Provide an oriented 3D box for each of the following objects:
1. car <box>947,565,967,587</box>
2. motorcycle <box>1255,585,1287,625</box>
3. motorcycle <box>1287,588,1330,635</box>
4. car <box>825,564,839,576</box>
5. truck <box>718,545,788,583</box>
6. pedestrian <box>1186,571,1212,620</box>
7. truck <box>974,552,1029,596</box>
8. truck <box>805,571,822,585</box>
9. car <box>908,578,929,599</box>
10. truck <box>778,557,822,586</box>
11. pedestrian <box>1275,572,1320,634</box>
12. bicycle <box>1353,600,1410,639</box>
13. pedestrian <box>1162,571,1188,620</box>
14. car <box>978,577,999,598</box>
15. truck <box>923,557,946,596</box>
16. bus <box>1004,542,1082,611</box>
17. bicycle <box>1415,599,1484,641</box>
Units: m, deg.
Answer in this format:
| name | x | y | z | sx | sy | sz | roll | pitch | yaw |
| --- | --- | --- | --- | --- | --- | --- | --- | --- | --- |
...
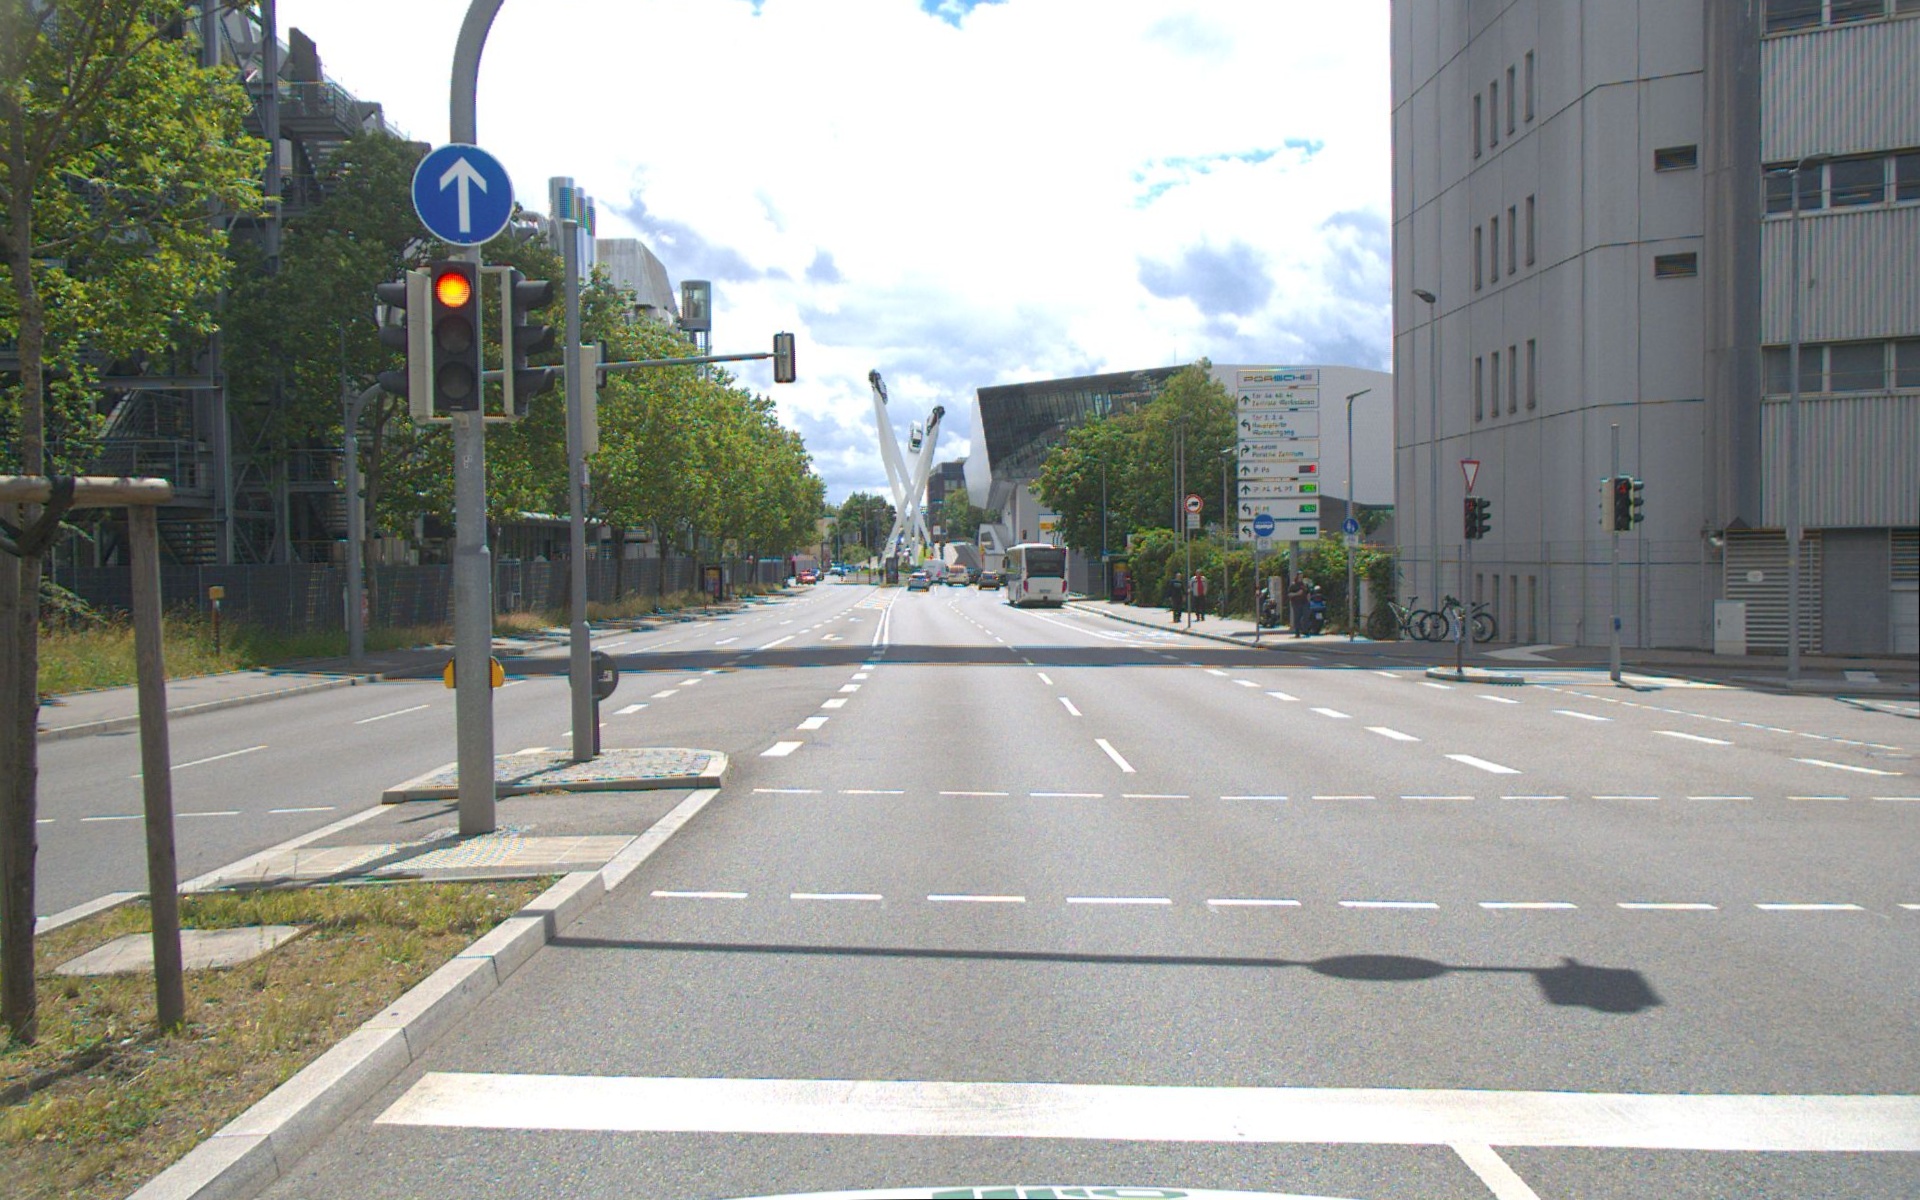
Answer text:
| name | x | y | z | sx | sy | sz | roll | pitch | yaw |
| --- | --- | --- | --- | --- | --- | --- | --- | --- | --- |
| car | -0.337 | -2.396 | 165.362 | 1.953 | 2.049 | 3.999 | 1 | -1 | 0 |
| motorcycle | 10.031 | 0.138 | 53.383 | 0.562 | 1.224 | 2.024 | -2 | 1 | -1 |
| motorcycle | 9.589 | 0.297 | 45.516 | 0.692 | 1.224 | 2.024 | -2 | 1 | -1 |
| car | -18.597 | -4.385 | 240.782 | 1.782 | 1.564 | 3.678 | -2 | 0 | -1 |
| truck | -26.405 | -4.525 | 212.161 | 3.490 | 4.400 | 12.166 | 0 | -1 | 21 |
| pedestrian | 8.634 | -0.171 | 59.769 | 0.803 | 1.772 | 0.637 | 0 | 0 | -1 |
| truck | 4.421 | -2.655 | 172.043 | 3.379 | 4.468 | 9.426 | 0 | 0 | 17 |
| truck | -17.331 | -2.619 | 195.605 | 1.556 | 1.564 | 3.666 | 0 | 0 | -13 |
| car | -3.478 | -0.945 | 137.902 | 1.703 | 1.772 | 3.691 | 0 | 0 | -1 |
| truck | -22.684 | -4.018 | 234.970 | 2.433 | 3.962 | 7.061 | 0 | -1 | 32 |
| pedestrian | 9.001 | 0.074 | 44.066 | 0.834 | 1.653 | 0.951 | 0 | 0 | 40 |
| bicycle | 10.589 | 0.473 | 41.610 | 0.391 | 0.953 | 1.917 | 0 | 0 | -19 |
| pedestrian | 7.762 | -0.162 | 59.695 | 0.803 | 1.737 | 0.881 | 0 | 0 | -1 |
| car | 2.495 | -1.101 | 146.208 | 1.703 | 1.772 | 3.691 | 0 | 0 | -1 |
| truck | -2.649 | -2.404 | 172.568 | 2.343 | 3.965 | 6.176 | 0 | 0 | -1 |
| bus | 4.468 | -1.270 | 91.642 | 3.383 | 3.605 | 10.602 | 0 | 0 | -2 |
| bicycle | 11.624 | 0.466 | 39.339 | 0.392 | 0.953 | 1.912 | 0 | 0 | -26 |
